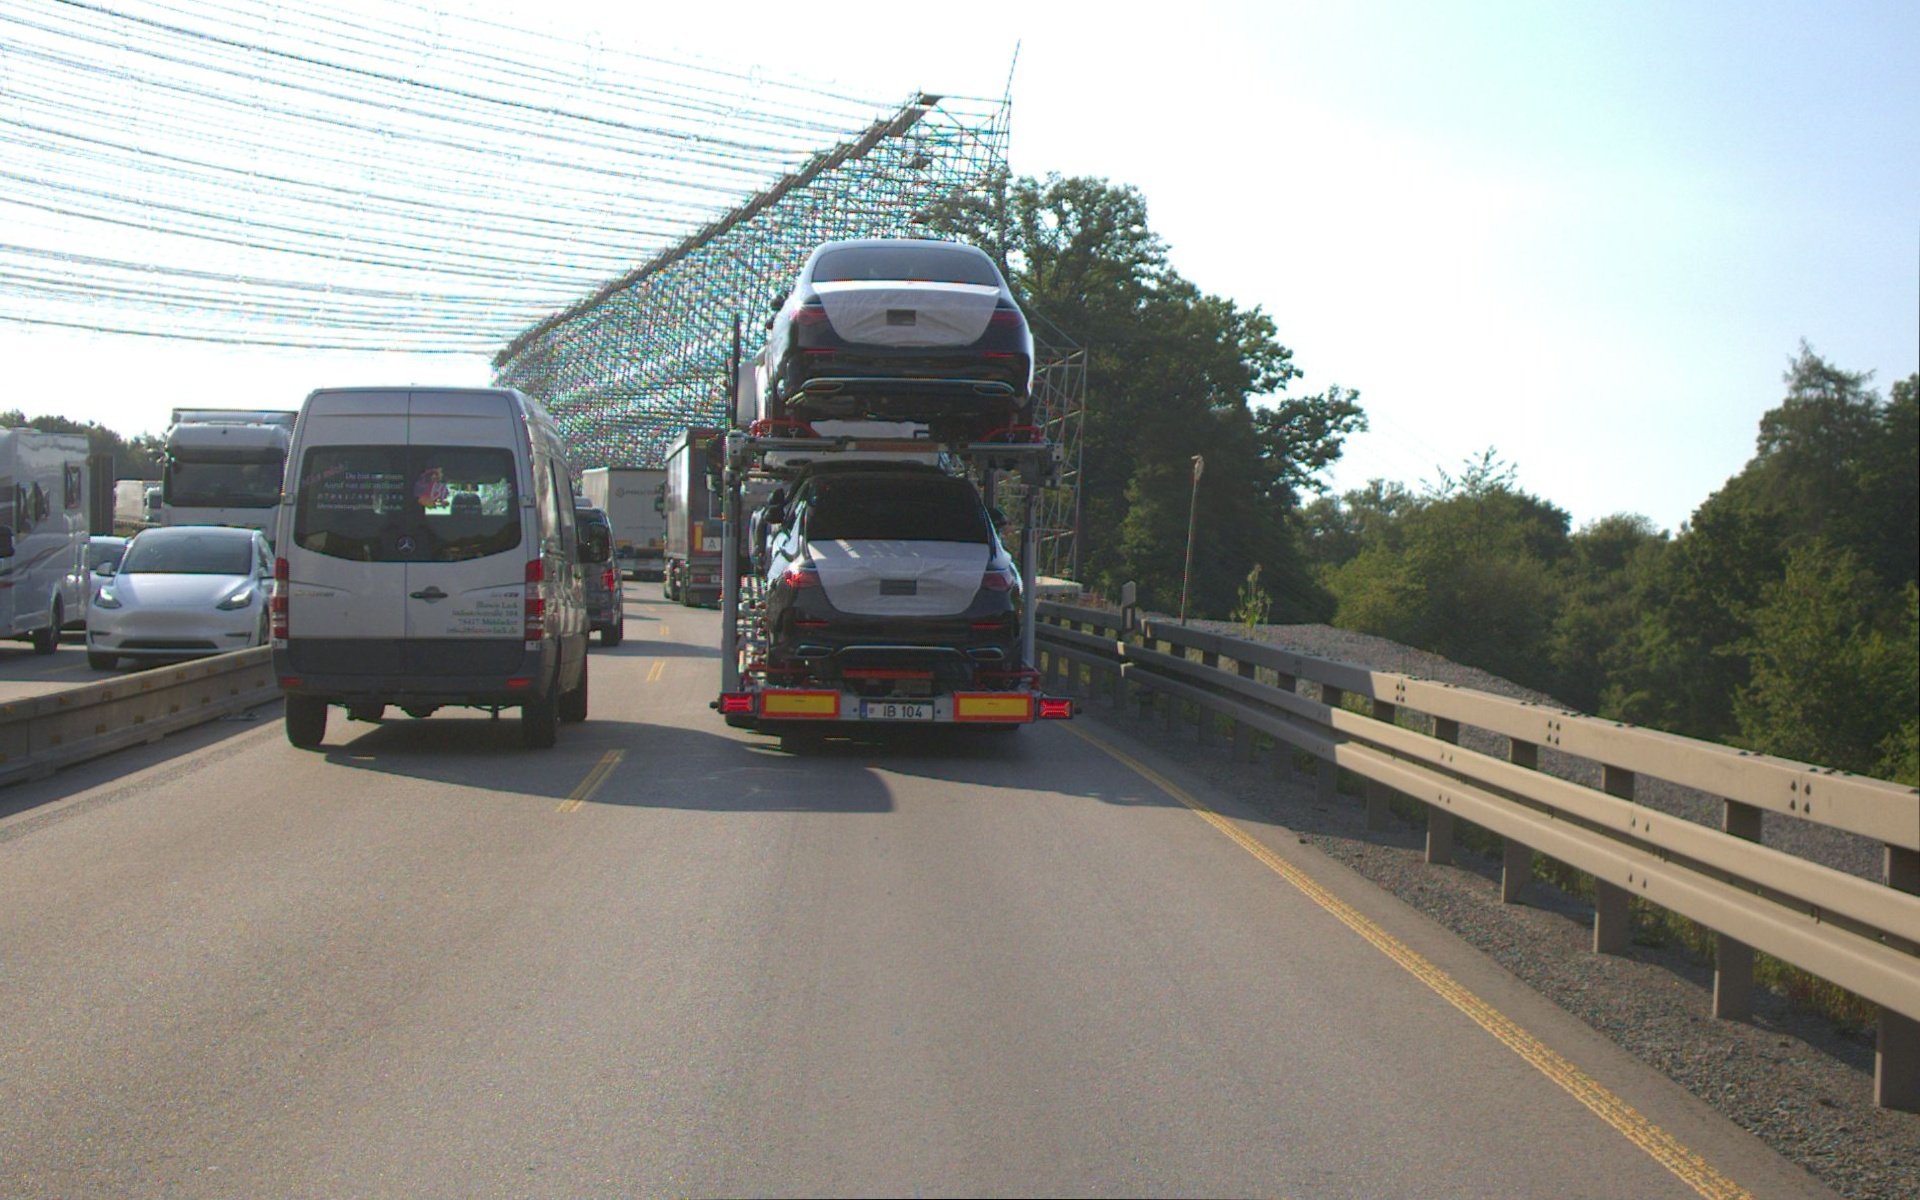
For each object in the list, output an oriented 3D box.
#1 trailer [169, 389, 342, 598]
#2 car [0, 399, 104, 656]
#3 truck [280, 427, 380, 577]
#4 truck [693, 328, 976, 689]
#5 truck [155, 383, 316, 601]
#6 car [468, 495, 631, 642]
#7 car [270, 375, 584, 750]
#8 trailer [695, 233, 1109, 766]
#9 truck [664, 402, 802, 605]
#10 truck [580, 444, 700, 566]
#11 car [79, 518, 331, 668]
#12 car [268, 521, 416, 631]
[{"bbox_3d":[-15.537,-2.277,76.691,2.720,4.203,13.752,1,1,-7],"label":"trailer"},{"bbox_3d":[-12.150,-0.848,41.199,2.334,2.908,7.634,0,1,-4],"label":"car"},{"bbox_3d":[-18.725,-2.882,102.466,2.744,4.285,5.935,1,1,-9],"label":"truck"},{"bbox_3d":[-1.539,-1.006,39.260,2.881,3.690,7.326,1,1,-4],"label":"truck"},{"bbox_3d":[-14.648,-2.152,69.865,2.712,4.203,5.684,1,1,-7],"label":"truck"},{"bbox_3d":[-5.922,-0.462,50.033,1.993,2.007,4.000,1,1,-2],"label":"car"},{"bbox_3d":[-3.935,-0.282,25.976,1.956,2.612,4.001,0,1,-3],"label":"car"},{"bbox_3d":[-0.971,-0.828,31.673,2.868,3.712,14.950,1,1,-4],"label":"trailer"},{"bbox_3d":[-5.485,-2.275,81.481,2.731,4.370,11.524,2,1,-6],"label":"truck"},{"bbox_3d":[-12.091,-3.570,128.706,3.686,4.206,13.672,-2,2,-8],"label":"truck"},{"bbox_3d":[-8.617,-0.133,39.653,2.058,1.481,4.727,-2,2,-3],"label":"car"},{"bbox_3d":[-9.540,-0.405,53.319,1.782,1.516,4.001,2,2,-4],"label":"car"}]
